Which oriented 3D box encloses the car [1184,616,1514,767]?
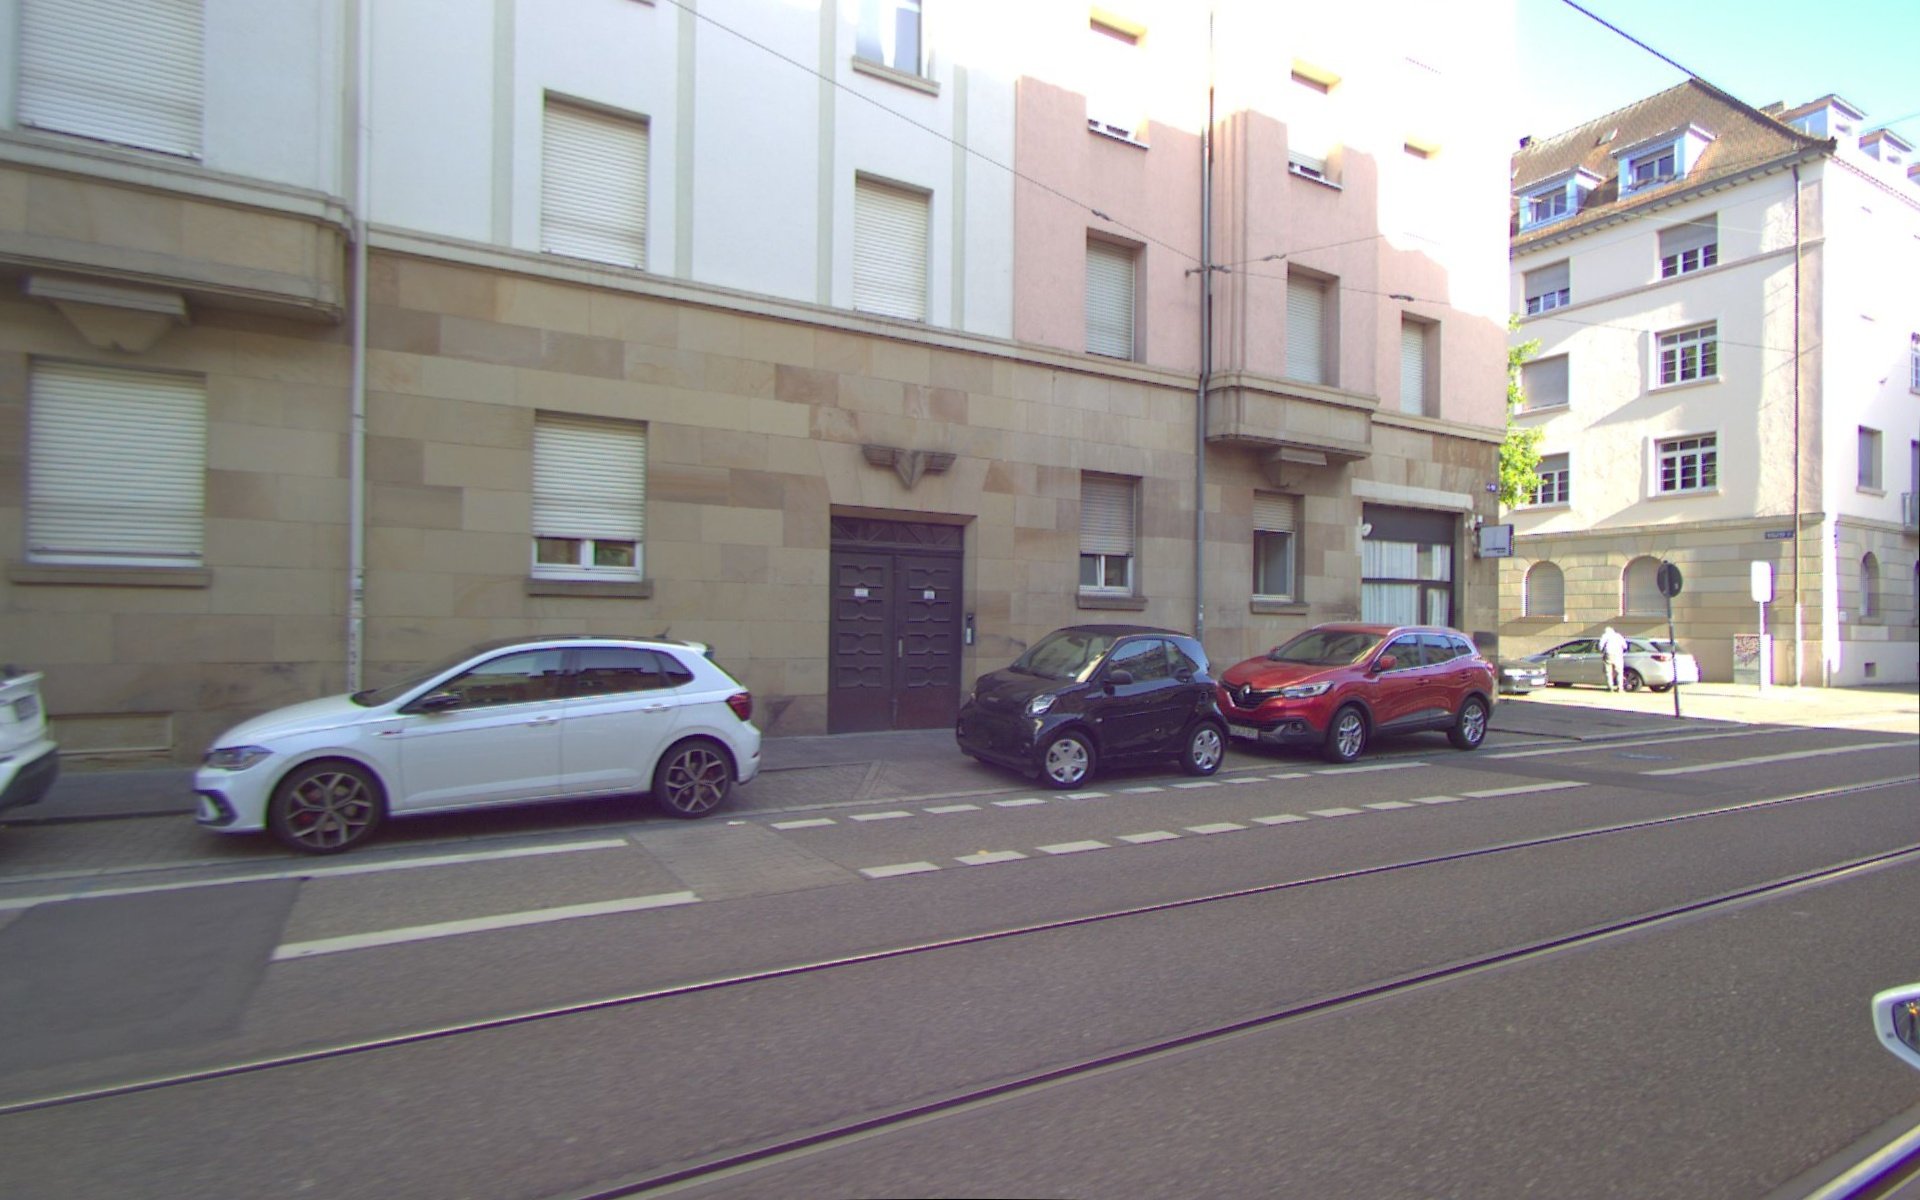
[{"bbox_3d":[5.175,1.090,13.186,4.348,1.628,1.773,2,0,-32],"label":"car"}]

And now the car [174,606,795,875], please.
[{"bbox_3d":[-3.621,0.934,8.157,4.133,1.643,1.773,2,0,-32],"label":"car"}]

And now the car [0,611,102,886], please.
[{"bbox_3d":[-7.810,0.840,5.610,4.317,1.567,1.762,2,0,-32],"label":"car"}]

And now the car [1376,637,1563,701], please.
[{"bbox_3d":[12.909,1.688,25.681,1.727,1.412,3.969,0,-1,-30],"label":"car"}]

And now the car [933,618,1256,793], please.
[{"bbox_3d":[1.452,1.035,10.878,2.983,1.573,1.775,2,0,-30],"label":"car"}]

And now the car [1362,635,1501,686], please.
[{"bbox_3d":[15.269,1.910,32.702,1.819,1.484,3.778,0,-1,-30],"label":"car"}]

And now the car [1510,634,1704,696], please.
[{"bbox_3d":[17.857,1.737,27.924,1.761,1.484,4.198,0,-1,-30],"label":"car"}]

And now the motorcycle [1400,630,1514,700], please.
[{"bbox_3d":[10.624,1.373,21.528,1.985,1.437,0.951,1,-1,0],"label":"motorcycle"}]

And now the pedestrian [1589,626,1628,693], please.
[{"bbox_3d":[17.106,1.567,26.489,0.723,1.735,0.604,1,-1,-30],"label":"pedestrian"}]
